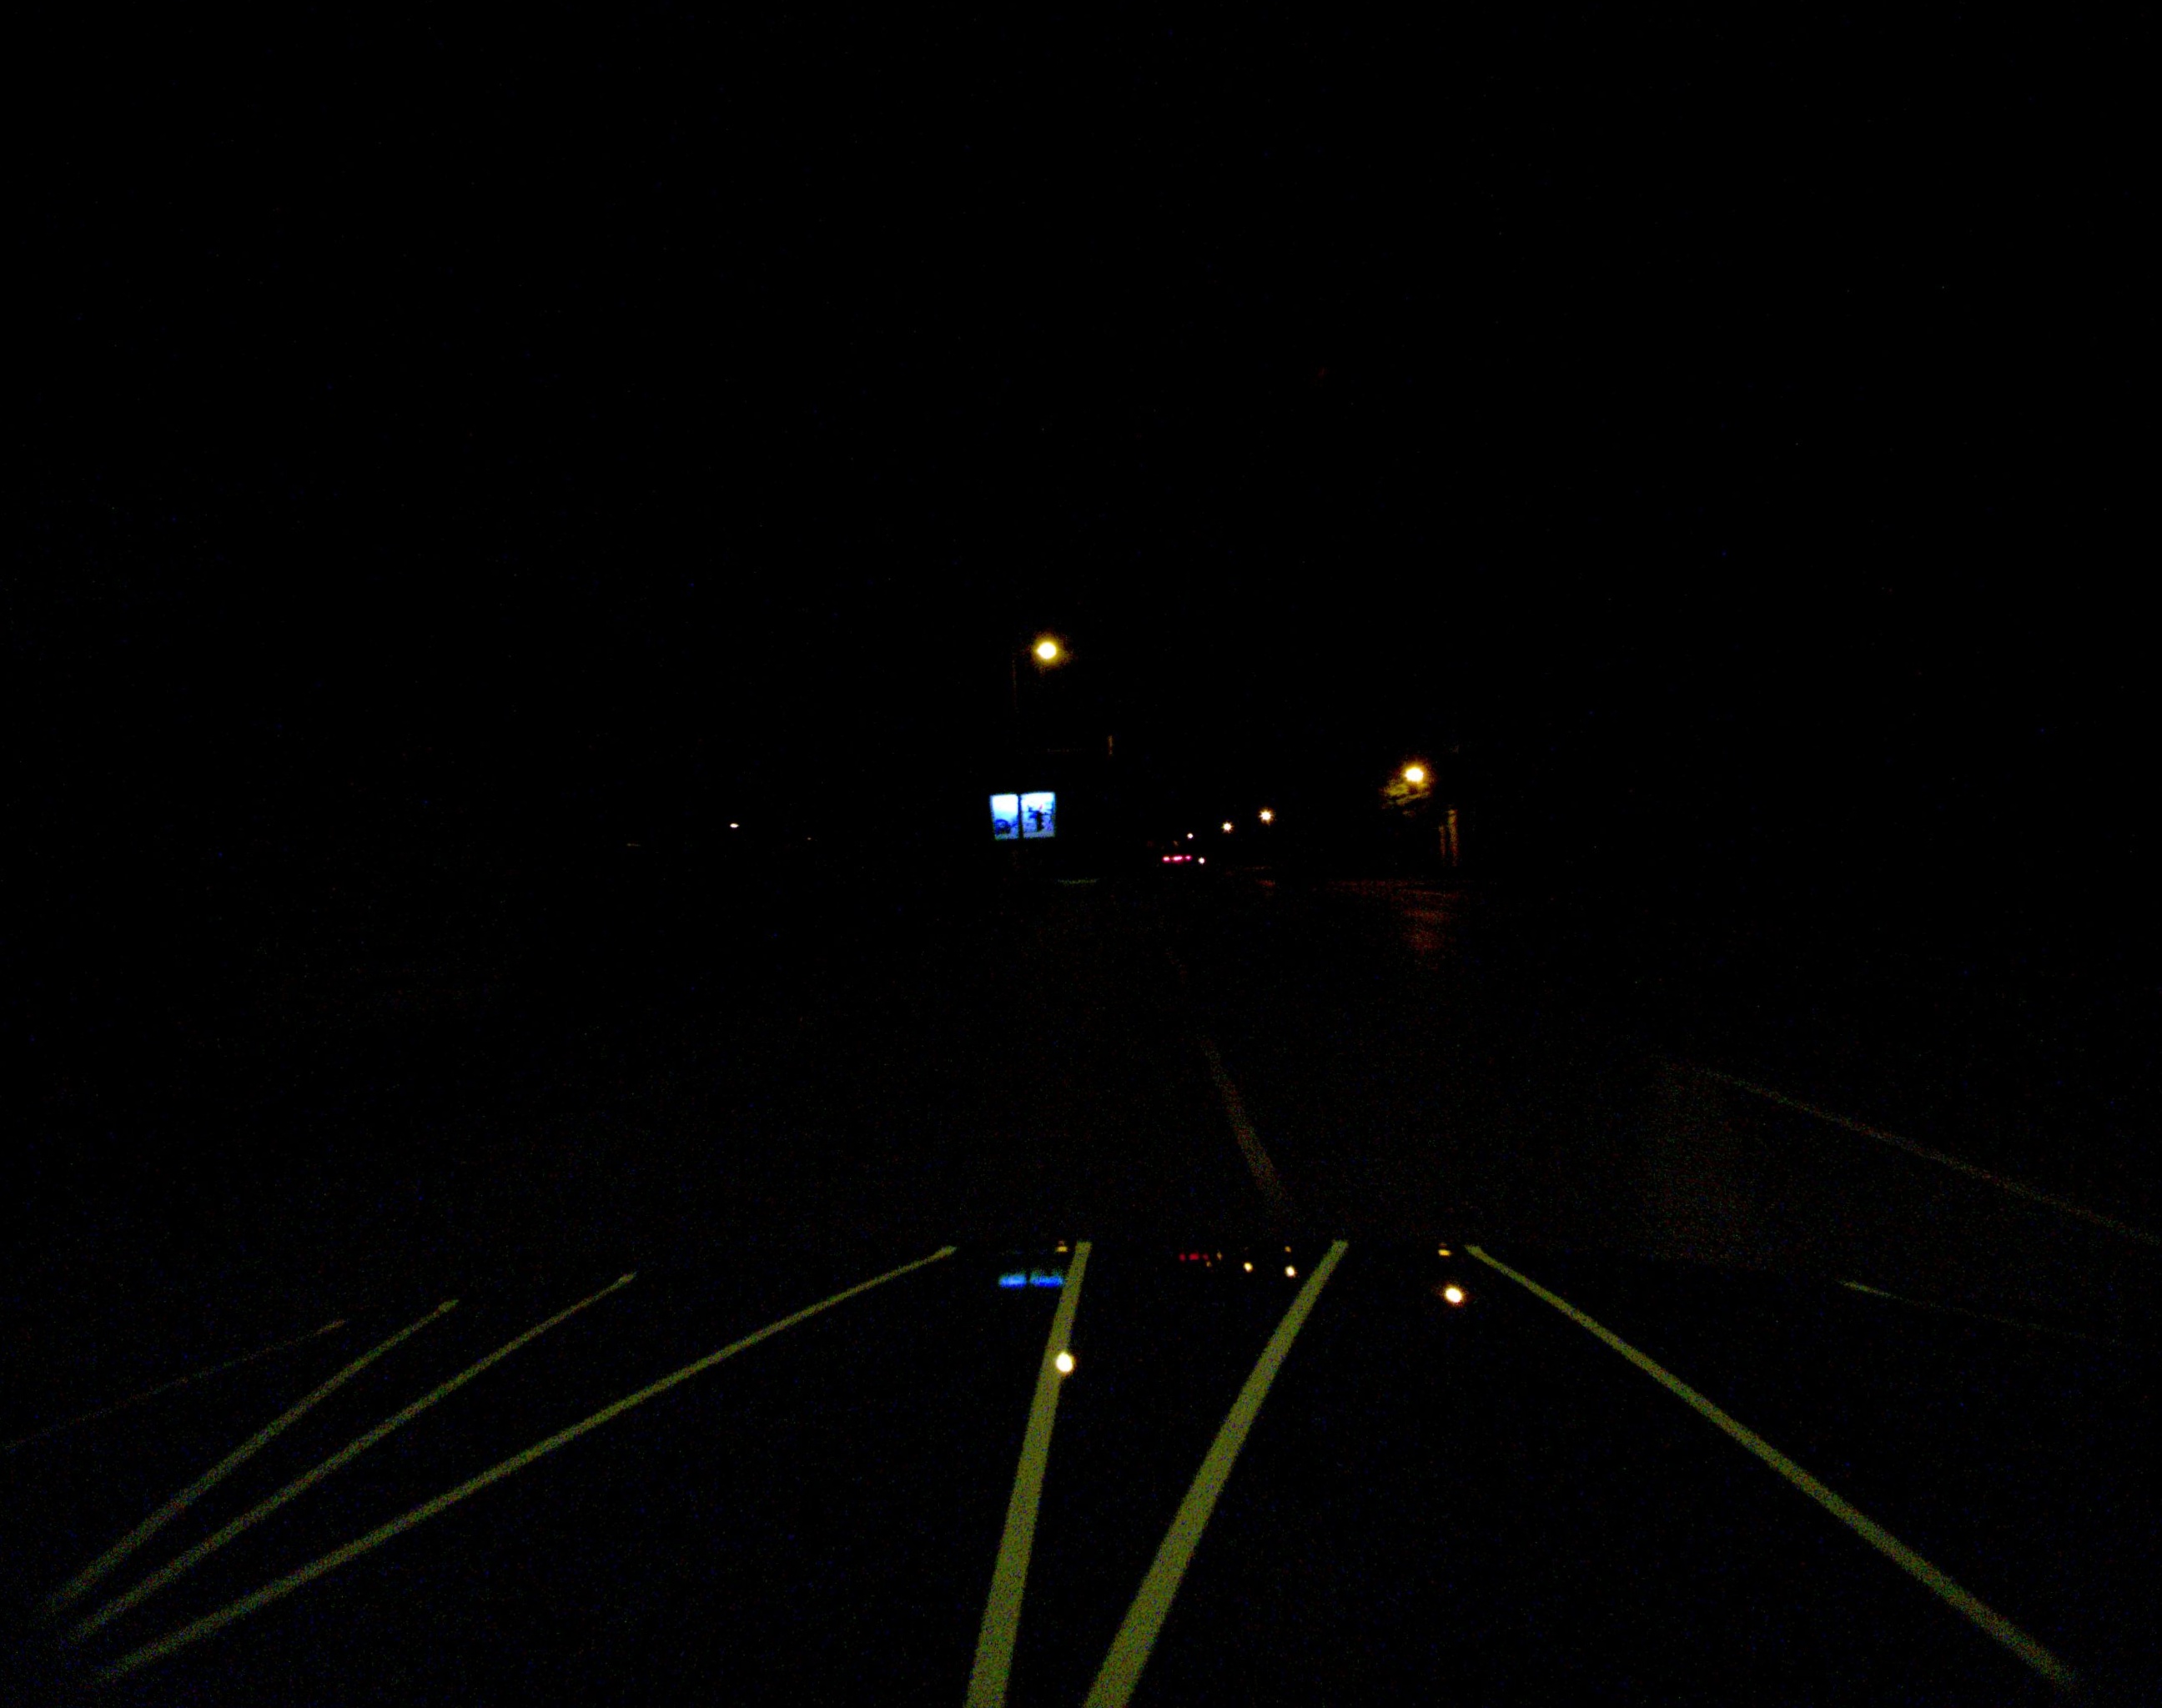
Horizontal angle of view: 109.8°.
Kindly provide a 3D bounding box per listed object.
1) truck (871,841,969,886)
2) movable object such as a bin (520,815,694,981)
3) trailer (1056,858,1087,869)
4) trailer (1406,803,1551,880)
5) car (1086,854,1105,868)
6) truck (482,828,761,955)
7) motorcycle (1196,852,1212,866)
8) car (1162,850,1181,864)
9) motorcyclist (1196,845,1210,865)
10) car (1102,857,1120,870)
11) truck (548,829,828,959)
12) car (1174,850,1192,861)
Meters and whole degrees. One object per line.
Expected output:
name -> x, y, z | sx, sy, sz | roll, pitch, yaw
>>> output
truck -> -10.282, 0.606, 48.814 | 5.543, 2.584, 2.473 | -3, 0, 3
movable object such as a bin -> -7.419, 0.652, 12.056 | 1.684, 2.369, 1.615 | -3, 0, -7
trailer -> -0.954, 1.016, 82.844 | 2.178, 0.961, 9.621 | -4, -1, 6
trailer -> 14.768, -0.428, 28.436 | 4.358, 2.704, 2.001 | -1, 0, 4
car -> 1.684, 0.839, 89.467 | 1.940, 1.543, 3.999 | -3, 0, -2
truck -> -11.828, 0.835, 20.627 | 2.187, 2.732, 7.320 | -3, 0, 8
motorcycle -> 12.113, 0.502, 74.992 | 1.000, 1.297, 2.826 | -3, 0, -2
car -> 11.439, 0.362, 96.438 | 1.998, 1.617, 4.753 | -3, 0, 4
motorcyclist -> 12.071, 0.105, 75.076 | 1.137, 1.889, 0.833 | -3, 1, -2
car -> 3.824, 1.195, 96.779 | 1.999, 1.542, 4.326 | -3, -1, -1
truck -> -8.854, 0.779, 18.362 | 2.188, 2.408, 7.319 | -3, 0, 6
car -> 14.382, 0.181, 107.790 | 1.853, 1.436, 4.916 | -3, 0, 0
